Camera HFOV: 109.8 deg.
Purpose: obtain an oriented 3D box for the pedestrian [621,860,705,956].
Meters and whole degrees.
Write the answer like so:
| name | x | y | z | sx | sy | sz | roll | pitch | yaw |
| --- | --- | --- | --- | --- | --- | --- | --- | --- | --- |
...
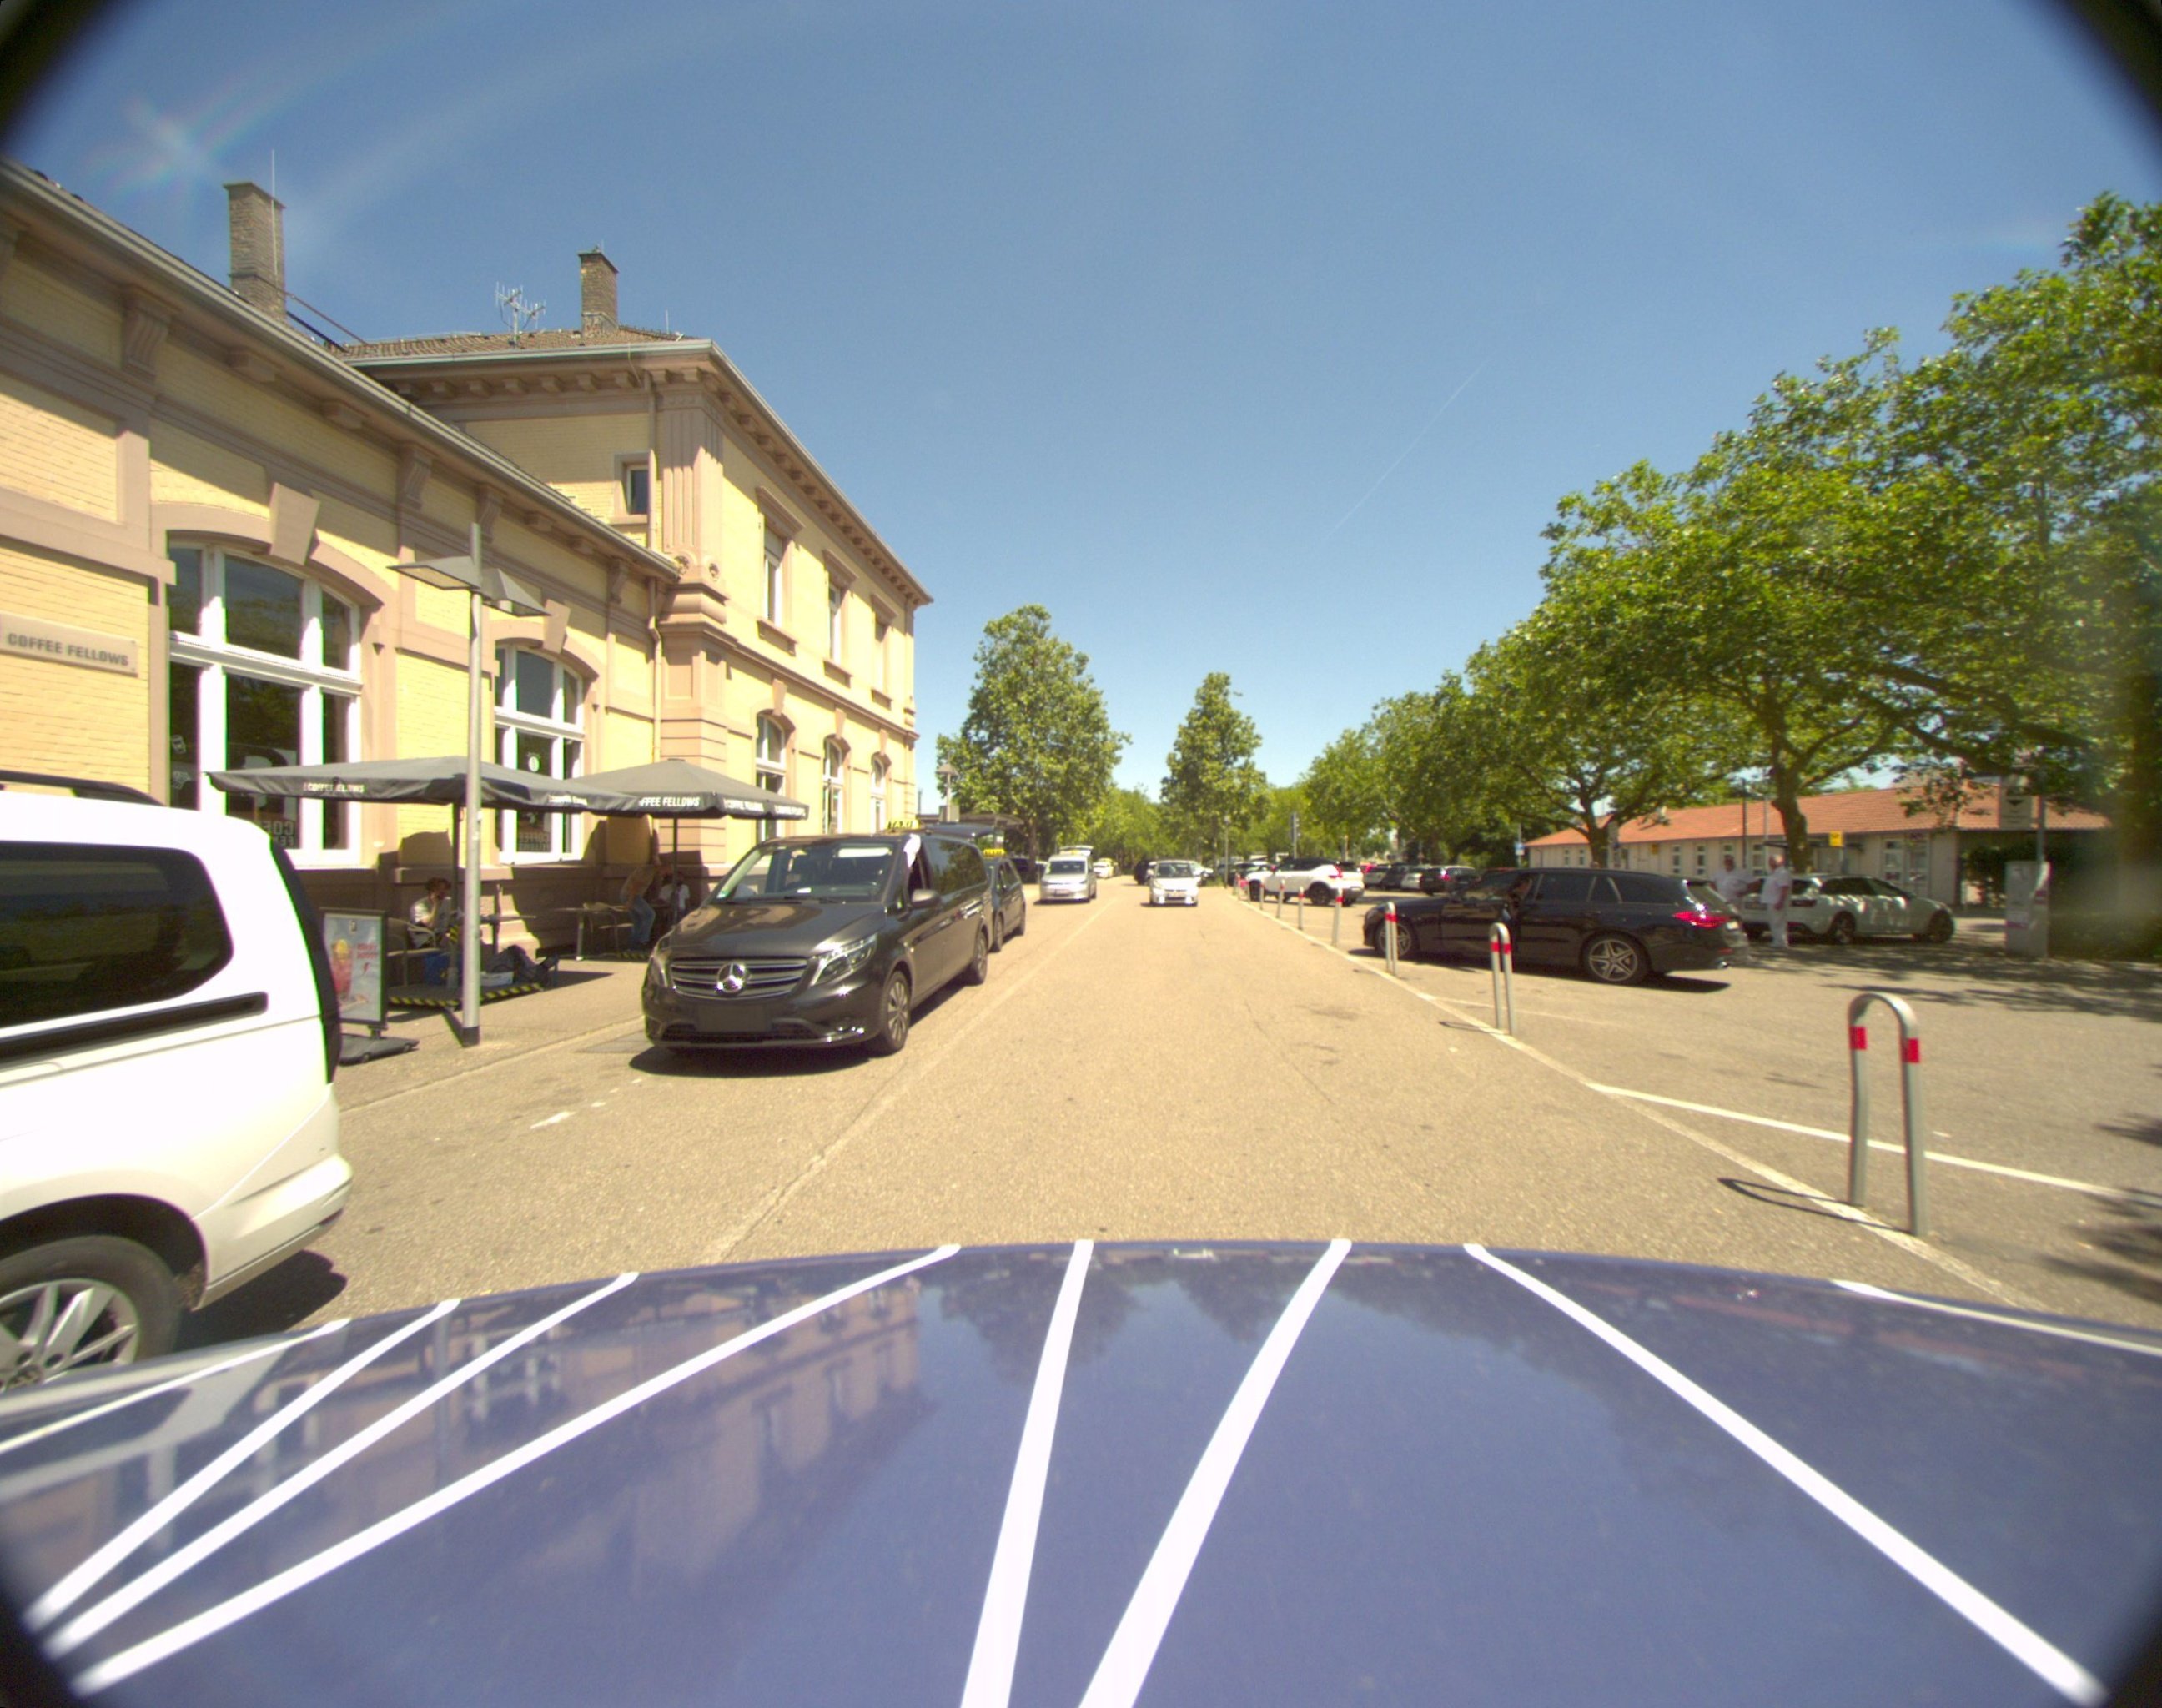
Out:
| name | x | y | z | sx | sy | sz | roll | pitch | yaw |
| --- | --- | --- | --- | --- | --- | --- | --- | --- | --- |
| pedestrian | -7.029 | 0.885 | 12.817 | 0.881 | 1.534 | 0.852 | 2 | 0 | 2 |

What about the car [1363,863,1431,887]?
| name | x | y | z | sx | sy | sz | roll | pitch | yaw |
| --- | --- | --- | --- | --- | --- | --- | --- | --- | --- |
| car | 19.601 | 1.281 | 47.140 | 3.881 | 1.452 | 1.633 | 0 | 0 | -22 |

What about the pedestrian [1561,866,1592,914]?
| name | x | y | z | sx | sy | sz | roll | pitch | yaw |
| --- | --- | --- | --- | --- | --- | --- | --- | --- | --- |
| pedestrian | 15.064 | 1.073 | 23.113 | 0.689 | 1.416 | 0.802 | 0 | 0 | 27 |

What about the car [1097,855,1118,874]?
| name | x | y | z | sx | sy | sz | roll | pitch | yaw |
| --- | --- | --- | --- | --- | --- | --- | --- | --- | --- |
| car | 2.707 | 1.087 | 80.049 | 2.050 | 1.829 | 4.965 | -2 | 0 | 1 |

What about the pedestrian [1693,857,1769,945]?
| name | x | y | z | sx | sy | sz | roll | pitch | yaw |
| --- | --- | --- | --- | --- | --- | --- | --- | --- | --- |
| pedestrian | 13.424 | 0.946 | 15.705 | 0.839 | 1.760 | 0.851 | 0 | 0 | -13 |

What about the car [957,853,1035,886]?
| name | x | y | z | sx | sy | sz | roll | pitch | yaw |
| --- | --- | --- | --- | --- | --- | --- | --- | --- | --- |
| car | -5.774 | 1.046 | 52.151 | 4.959 | 2.108 | 2.052 | -2 | 0 | 4 |

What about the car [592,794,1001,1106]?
| name | x | y | z | sx | sy | sz | roll | pitch | yaw |
| --- | --- | --- | --- | --- | --- | --- | --- | --- | --- |
| car | -2.256 | 0.700 | 8.112 | 2.092 | 2.111 | 5.826 | -1 | -1 | 1 |

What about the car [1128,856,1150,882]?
| name | x | y | z | sx | sy | sz | roll | pitch | yaw |
| --- | --- | --- | --- | --- | --- | --- | --- | --- | --- |
| car | 3.889 | 0.963 | 50.933 | 1.455 | 1.660 | 3.107 | 0 | 0 | 4 |

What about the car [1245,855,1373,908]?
| name | x | y | z | sx | sy | sz | roll | pitch | yaw |
| --- | --- | --- | --- | --- | --- | --- | --- | --- | --- |
| car | 8.059 | 0.909 | 27.149 | 1.804 | 1.596 | 4.051 | -2 | 3 | -39 |

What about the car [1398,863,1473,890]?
| name | x | y | z | sx | sy | sz | roll | pitch | yaw |
| --- | --- | --- | --- | --- | --- | --- | --- | --- | --- |
| car | 19.812 | 1.233 | 42.471 | 3.881 | 1.452 | 1.633 | 0 | 0 | -22 |

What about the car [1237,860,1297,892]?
| name | x | y | z | sx | sy | sz | roll | pitch | yaw |
| --- | --- | --- | --- | --- | --- | --- | --- | --- | --- |
| car | 11.410 | 1.304 | 46.834 | 1.740 | 1.882 | 3.994 | 0 | 0 | -18 |

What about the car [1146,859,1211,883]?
| name | x | y | z | sx | sy | sz | roll | pitch | yaw |
| --- | --- | --- | --- | --- | --- | --- | --- | --- | --- |
| car | 5.784 | 1.001 | 45.409 | 1.808 | 1.395 | 3.503 | 0 | 0 | -44 |

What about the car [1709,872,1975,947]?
| name | x | y | z | sx | sy | sz | roll | pitch | yaw |
| --- | --- | --- | --- | --- | --- | --- | --- | --- | --- |
| car | 16.239 | 1.125 | 16.268 | 4.780 | 1.408 | 1.784 | 0 | 0 | -13 |

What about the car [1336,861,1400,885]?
| name | x | y | z | sx | sy | sz | roll | pitch | yaw |
| --- | --- | --- | --- | --- | --- | --- | --- | --- | --- |
| car | 18.885 | 1.226 | 49.977 | 3.881 | 1.565 | 1.633 | 0 | 0 | -22 |

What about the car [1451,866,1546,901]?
| name | x | y | z | sx | sy | sz | roll | pitch | yaw |
| --- | --- | --- | --- | --- | --- | --- | --- | --- | --- |
| car | 18.563 | 1.267 | 33.781 | 3.881 | 1.452 | 1.633 | 0 | 0 | -22 |

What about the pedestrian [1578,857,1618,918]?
| name | x | y | z | sx | sy | sz | roll | pitch | yaw |
| --- | --- | --- | --- | --- | --- | --- | --- | --- | --- |
| pedestrian | 13.408 | 0.855 | 19.715 | 0.589 | 1.539 | 0.611 | 1 | 0 | 2 |

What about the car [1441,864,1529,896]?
| name | x | y | z | sx | sy | sz | roll | pitch | yaw |
| --- | --- | --- | --- | --- | --- | --- | --- | --- | --- |
| car | 19.518 | 1.238 | 36.729 | 3.881 | 1.452 | 1.633 | 0 | 0 | -22 |

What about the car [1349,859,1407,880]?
| name | x | y | z | sx | sy | sz | roll | pitch | yaw |
| --- | --- | --- | --- | --- | --- | --- | --- | --- | --- |
| car | 21.778 | 1.124 | 55.667 | 3.881 | 1.439 | 1.633 | 0 | 0 | -22 |

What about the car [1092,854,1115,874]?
| name | x | y | z | sx | sy | sz | roll | pitch | yaw |
| --- | --- | --- | --- | --- | --- | --- | --- | --- | --- |
| car | 2.123 | 0.911 | 73.403 | 2.050 | 1.829 | 4.965 | -2 | 0 | 1 |

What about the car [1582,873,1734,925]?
| name | x | y | z | sx | sy | sz | roll | pitch | yaw |
| --- | --- | --- | --- | --- | --- | --- | --- | --- | --- |
| car | 17.273 | 1.293 | 22.744 | 4.032 | 1.397 | 1.874 | 0 | 0 | -24 |

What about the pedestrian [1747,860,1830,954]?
| name | x | y | z | sx | sy | sz | roll | pitch | yaw |
| --- | --- | --- | --- | --- | --- | --- | --- | --- | --- |
| pedestrian | 13.668 | 0.995 | 14.697 | 0.839 | 1.760 | 0.850 | 0 | 0 | -15 |

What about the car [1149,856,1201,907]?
| name | x | y | z | sx | sy | sz | roll | pitch | yaw |
| --- | --- | --- | --- | --- | --- | --- | --- | --- | --- |
| car | 3.114 | 0.866 | 25.531 | 1.600 | 1.584 | 3.107 | 0 | 0 | 4 |

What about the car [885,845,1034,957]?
| name | x | y | z | sx | sy | sz | roll | pitch | yaw |
| --- | --- | --- | --- | --- | --- | --- | --- | --- | --- |
| car | -2.161 | 0.815 | 14.984 | 2.079 | 1.829 | 4.841 | -1 | -1 | 1 |

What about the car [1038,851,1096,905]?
| name | x | y | z | sx | sy | sz | roll | pitch | yaw |
| --- | --- | --- | --- | --- | --- | --- | --- | --- | --- |
| car | -0.462 | 0.830 | 29.269 | 2.003 | 1.829 | 5.318 | -2 | 0 | 1 |

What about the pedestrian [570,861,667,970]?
| name | x | y | z | sx | sy | sz | roll | pitch | yaw |
| --- | --- | --- | --- | --- | --- | --- | --- | --- | --- |
| pedestrian | -6.900 | 0.890 | 11.370 | 0.881 | 1.534 | 0.852 | 2 | 0 | 2 |

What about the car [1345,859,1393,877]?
| name | x | y | z | sx | sy | sz | roll | pitch | yaw |
| --- | --- | --- | --- | --- | --- | --- | --- | --- | --- |
| car | 21.967 | 1.051 | 58.022 | 3.158 | 1.386 | 1.465 | 0 | 0 | 0 |

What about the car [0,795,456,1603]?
| name | x | y | z | sx | sy | sz | roll | pitch | yaw |
| --- | --- | --- | --- | --- | --- | --- | --- | --- | --- |
| car | -3.482 | 0.785 | 0.414 | 1.813 | 1.854 | 5.141 | -1 | -1 | 4 |

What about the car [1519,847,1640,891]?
| name | x | y | z | sx | sy | sz | roll | pitch | yaw |
| --- | --- | --- | --- | --- | --- | --- | --- | --- | --- |
| car | 17.453 | 0.511 | 26.588 | 3.881 | 1.452 | 1.633 | 0 | 0 | -22 |

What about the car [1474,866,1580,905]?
| name | x | y | z | sx | sy | sz | roll | pitch | yaw |
| --- | --- | --- | --- | --- | --- | --- | --- | --- | --- |
| car | 17.830 | 1.221 | 30.365 | 3.881 | 1.452 | 1.633 | 0 | 0 | -22 |

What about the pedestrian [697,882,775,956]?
| name | x | y | z | sx | sy | sz | roll | pitch | yaw |
| --- | --- | --- | --- | --- | --- | --- | --- | --- | --- |
| pedestrian | -5.891 | 1.091 | 13.016 | 0.851 | 1.158 | 0.882 | 2 | 0 | 5 |

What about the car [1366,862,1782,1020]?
| name | x | y | z | sx | sy | sz | roll | pitch | yaw |
| --- | --- | --- | --- | --- | --- | --- | --- | --- | --- |
| car | 6.566 | 0.981 | 10.610 | 1.804 | 1.534 | 4.516 | -2 | 3 | -41 |

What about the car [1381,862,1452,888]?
| name | x | y | z | sx | sy | sz | roll | pitch | yaw |
| --- | --- | --- | --- | --- | --- | --- | --- | --- | --- |
| car | 19.792 | 1.210 | 44.816 | 3.881 | 1.452 | 1.633 | 0 | 0 | -22 |

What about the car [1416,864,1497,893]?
| name | x | y | z | sx | sy | sz | roll | pitch | yaw |
| --- | --- | --- | --- | --- | --- | --- | --- | --- | --- |
| car | 19.513 | 1.256 | 39.470 | 3.881 | 1.452 | 1.633 | 0 | 0 | -22 |
